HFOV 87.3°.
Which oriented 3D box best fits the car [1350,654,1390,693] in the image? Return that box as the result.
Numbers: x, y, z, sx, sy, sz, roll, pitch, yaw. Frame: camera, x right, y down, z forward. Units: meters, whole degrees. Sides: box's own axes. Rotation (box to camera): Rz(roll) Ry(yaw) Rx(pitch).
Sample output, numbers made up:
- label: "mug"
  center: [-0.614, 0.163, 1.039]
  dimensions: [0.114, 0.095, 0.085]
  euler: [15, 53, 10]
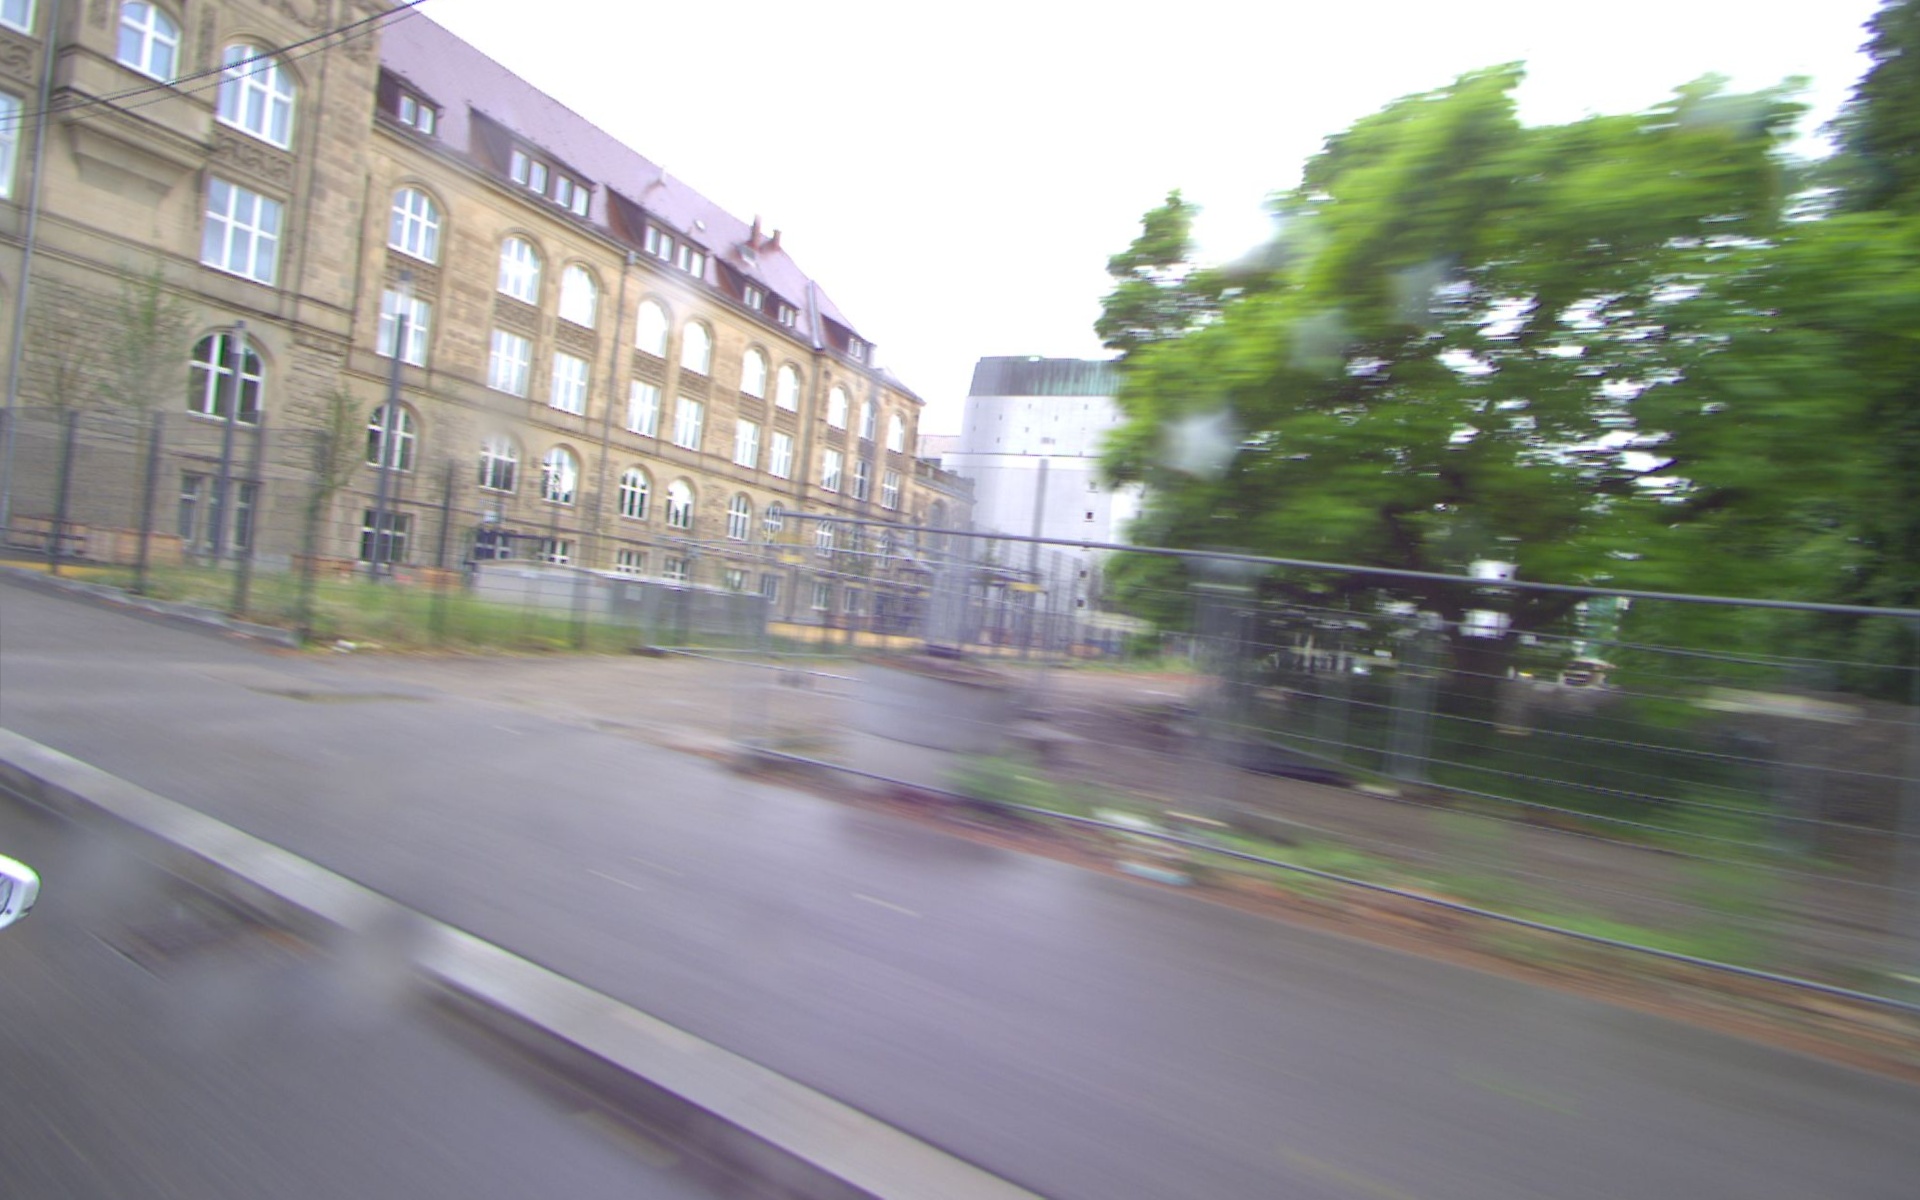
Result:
- label: "car"
  center: [24.408, 4.348, 59.808]
  dimensions: [1.964, 2.038, 3.998]
  euler: [5, -1, 24]
